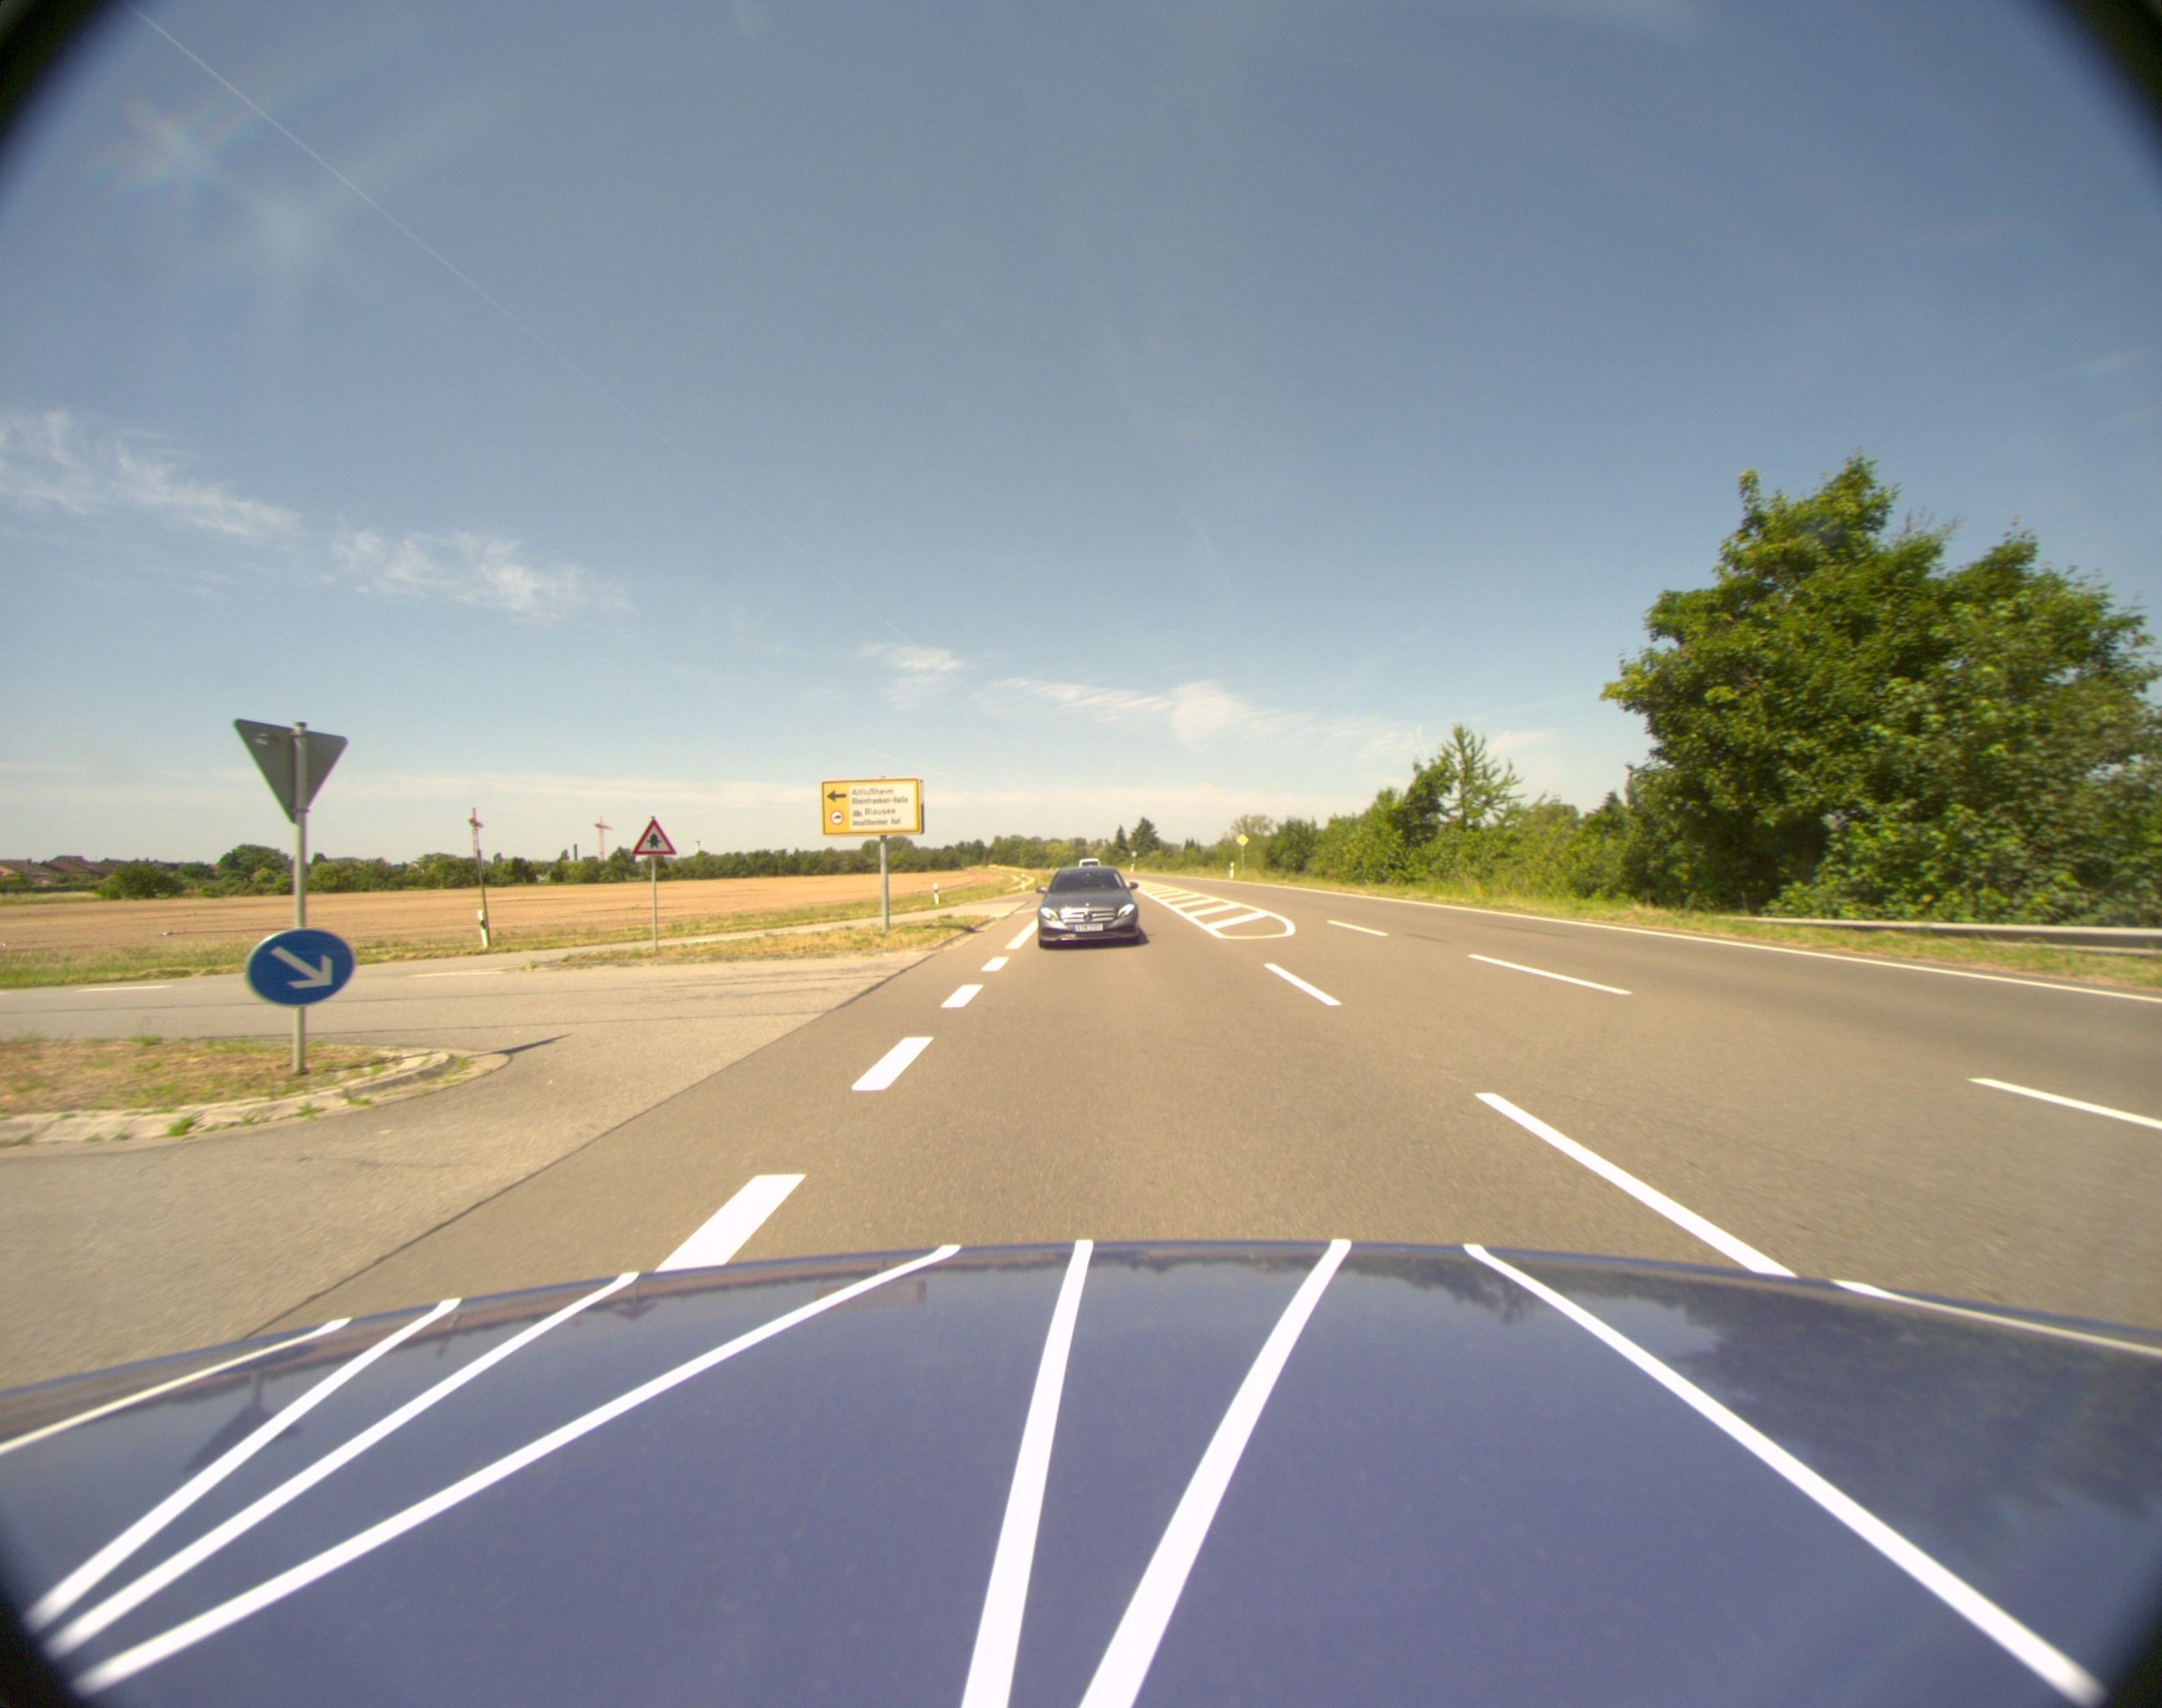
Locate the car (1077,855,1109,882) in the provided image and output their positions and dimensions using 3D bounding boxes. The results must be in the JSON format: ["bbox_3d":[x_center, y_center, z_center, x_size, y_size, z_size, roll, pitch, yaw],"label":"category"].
[{"bbox_3d":[0.963,1.159,63.536,2.180,2.002,5.024,-5,0,-3],"label":"car"}]

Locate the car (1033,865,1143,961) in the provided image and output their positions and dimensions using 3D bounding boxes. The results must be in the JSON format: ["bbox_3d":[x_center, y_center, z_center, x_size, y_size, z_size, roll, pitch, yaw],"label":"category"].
[{"bbox_3d":[0.275,1.054,15.417,1.831,1.540,4.500,-3,-1,4],"label":"car"}]
